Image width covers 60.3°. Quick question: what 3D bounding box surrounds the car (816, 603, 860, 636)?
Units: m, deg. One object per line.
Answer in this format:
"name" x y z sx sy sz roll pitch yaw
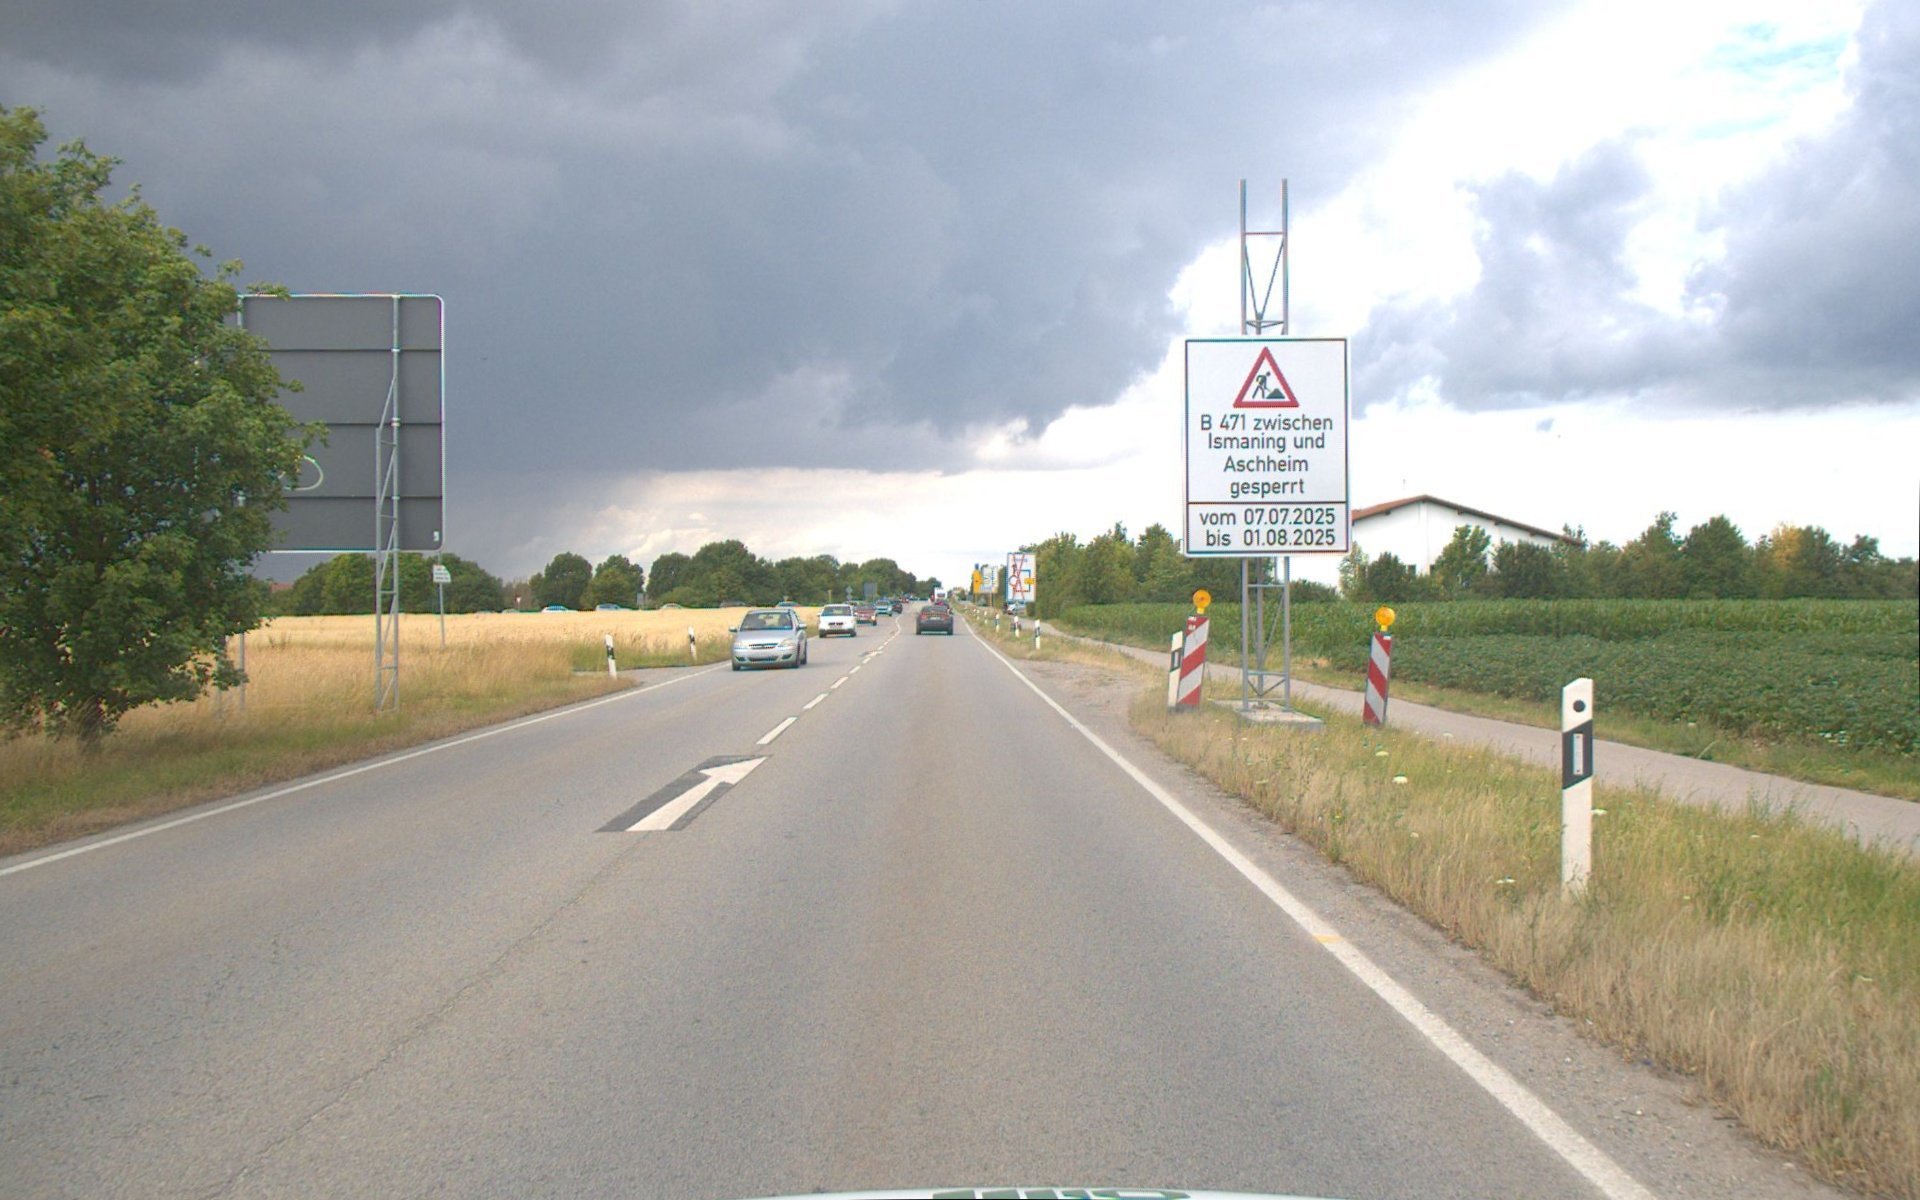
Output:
"car" -5.667 0.896 77.032 1.769 1.482 4.112 -1 0 -1

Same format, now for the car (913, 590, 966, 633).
"car" -1.031 0.560 81.166 2.325 1.913 4.475 -2 0 -3

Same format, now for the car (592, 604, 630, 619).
"car" -41.350 1.322 195.966 3.986 1.678 1.867 -1 0 3

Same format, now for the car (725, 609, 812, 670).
"car" -4.652 0.930 40.588 1.693 1.387 3.949 -1 0 -1

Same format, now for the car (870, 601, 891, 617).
"car" -8.356 0.913 173.997 2.023 1.608 4.764 -2 0 -1

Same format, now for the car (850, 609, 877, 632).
"car" -6.727 1.401 115.431 1.677 1.514 4.607 -1 0 -1
